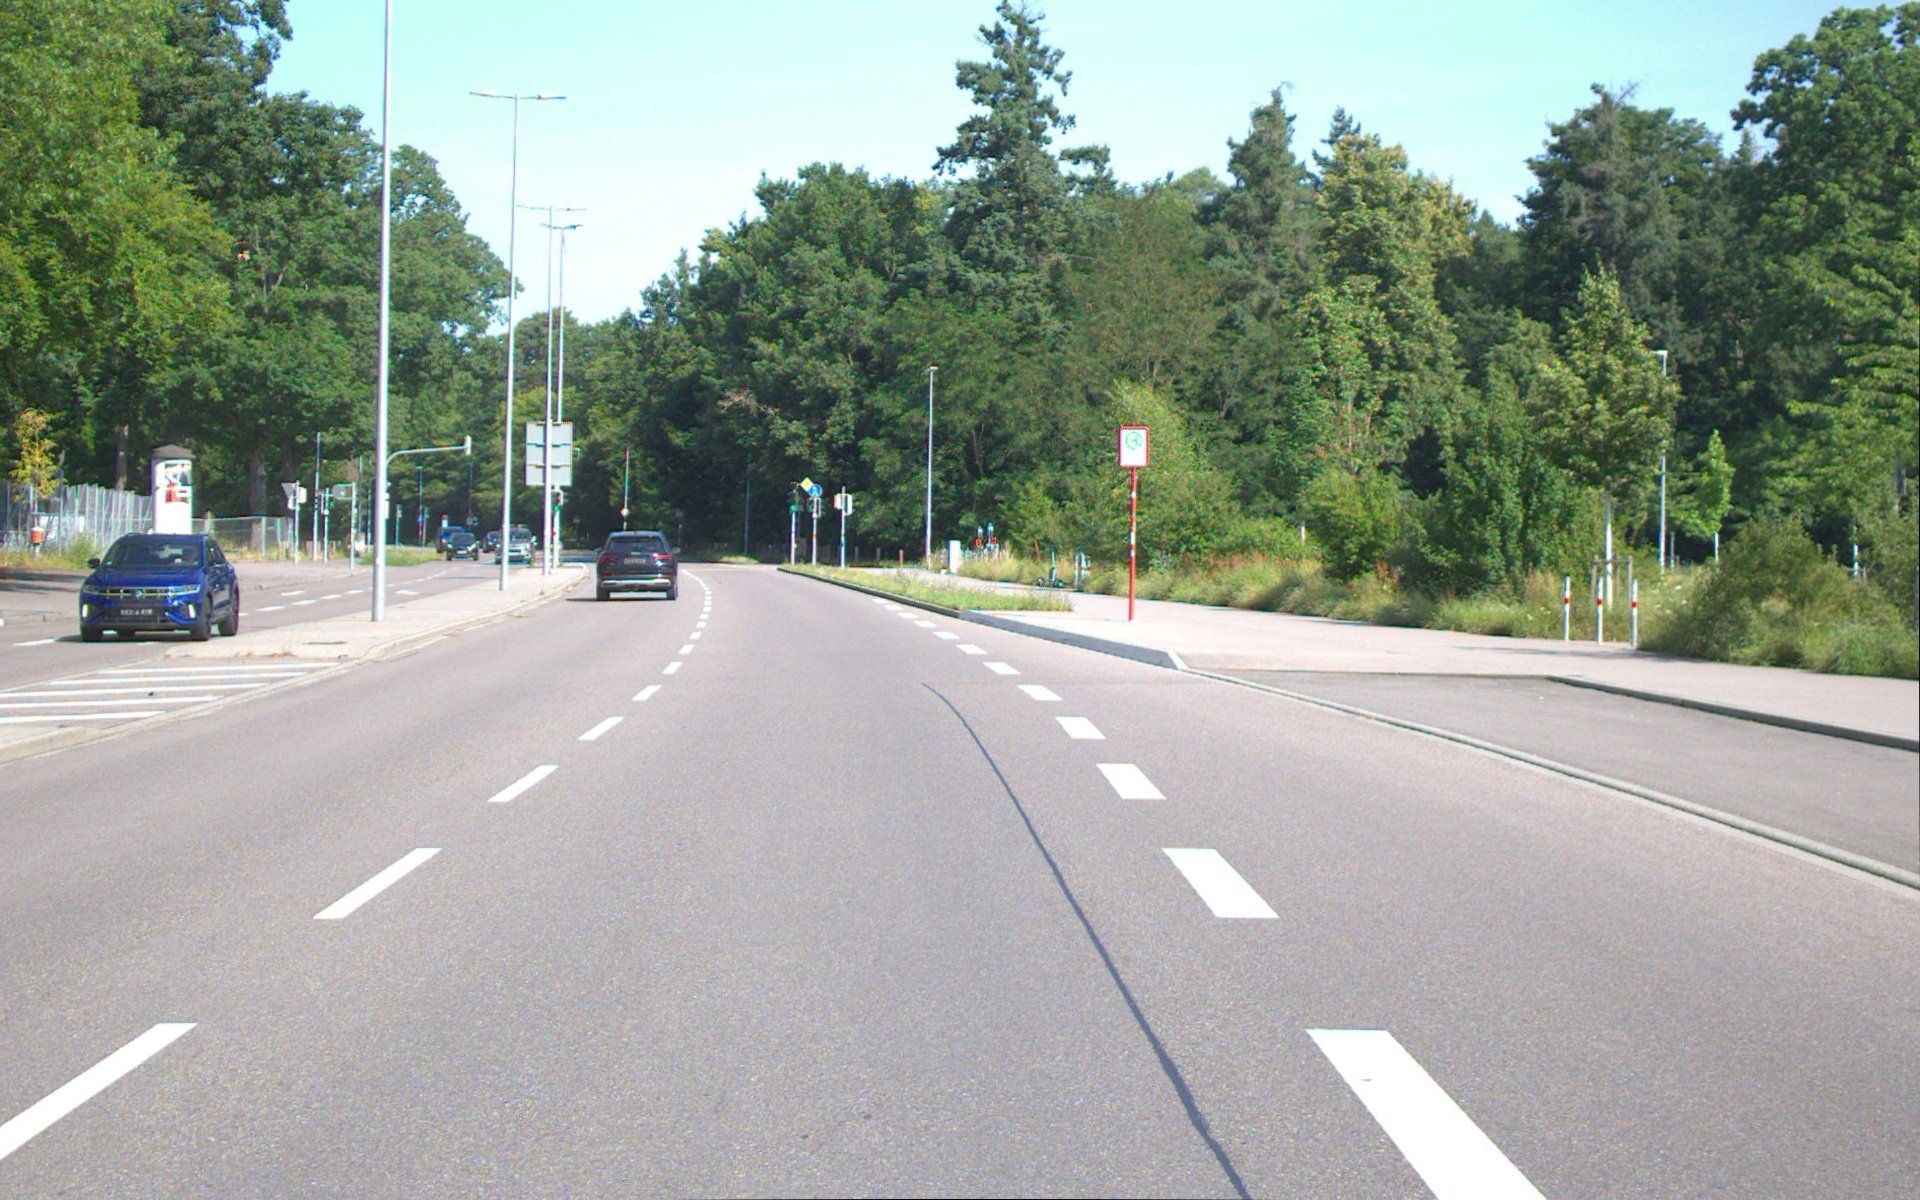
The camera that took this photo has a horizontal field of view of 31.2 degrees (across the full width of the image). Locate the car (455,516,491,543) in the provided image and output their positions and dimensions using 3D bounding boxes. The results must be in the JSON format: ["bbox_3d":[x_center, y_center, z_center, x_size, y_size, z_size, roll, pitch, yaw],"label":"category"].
[{"bbox_3d":[-26.840,-3.888,189.476,1.793,1.473,4.001,1,1,-7],"label":"car"}]

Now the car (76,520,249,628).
[{"bbox_3d":[-11.577,-0.411,50.120,1.753,1.481,3.948,-1,1,-3],"label":"car"}]

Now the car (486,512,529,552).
[{"bbox_3d":[-22.068,-3.325,167.826,1.841,1.925,4.630,0,1,-4],"label":"car"}]

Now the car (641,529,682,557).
[{"bbox_3d":[-16.110,-3.076,185.402,1.940,1.415,4.294,1,2,-8],"label":"car"}]

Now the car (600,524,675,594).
[{"bbox_3d":[-7.426,-0.965,78.978,1.687,1.539,4.149,0,1,-6],"label":"car"}]
